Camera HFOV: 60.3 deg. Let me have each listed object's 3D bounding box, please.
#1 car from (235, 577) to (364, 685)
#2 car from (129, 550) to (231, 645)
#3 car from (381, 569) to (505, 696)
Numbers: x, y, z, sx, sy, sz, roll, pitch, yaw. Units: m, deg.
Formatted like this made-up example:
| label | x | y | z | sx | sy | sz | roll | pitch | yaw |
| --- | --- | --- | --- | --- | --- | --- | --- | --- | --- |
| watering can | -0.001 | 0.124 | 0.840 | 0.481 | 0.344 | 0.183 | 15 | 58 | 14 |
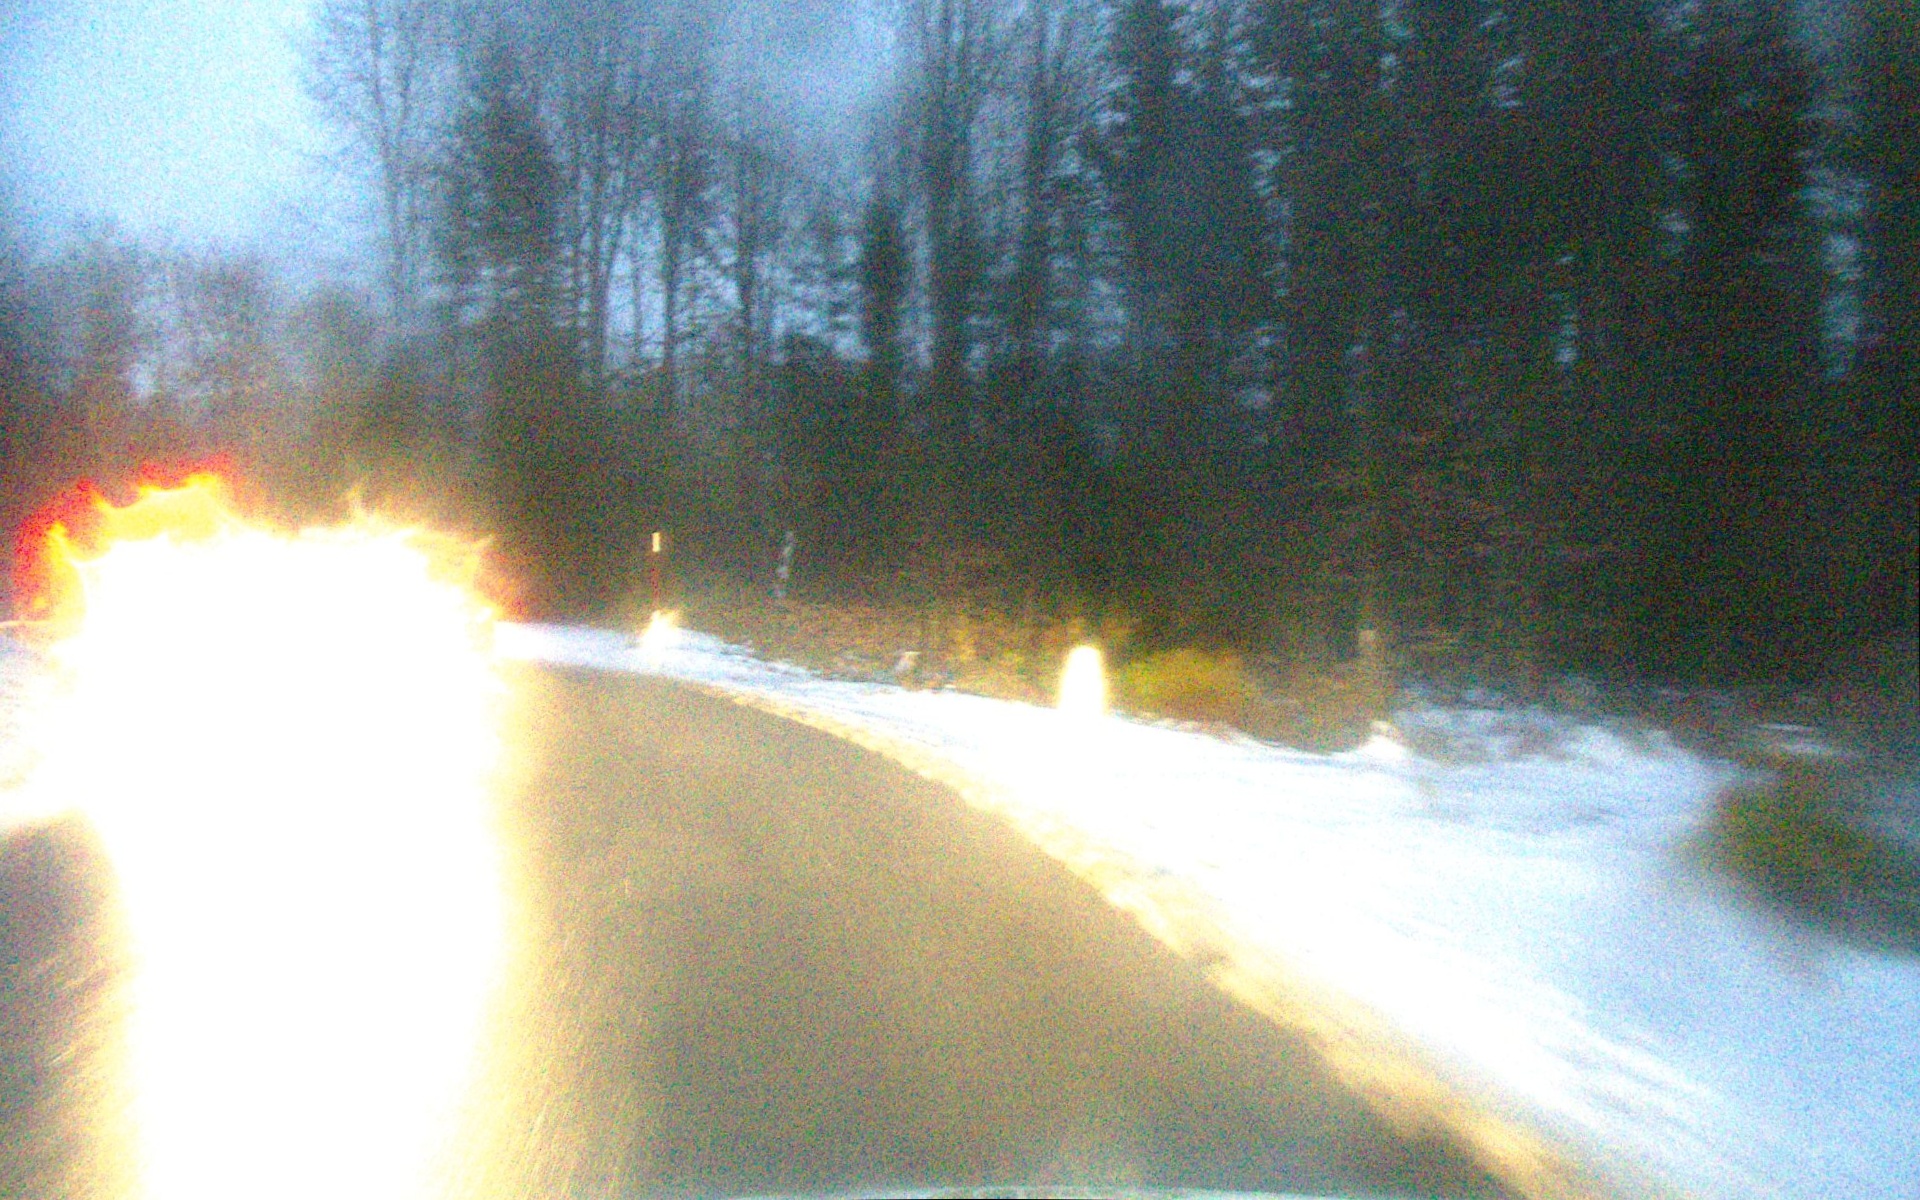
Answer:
| label | x | y | z | sx | sy | sz | roll | pitch | yaw |
| --- | --- | --- | --- | --- | --- | --- | --- | --- | --- |
| car | -10.792 | 0.432 | 26.904 | 1.751 | 1.518 | 4.516 | -3 | 2 | -23 |
| car | -23.412 | -0.050 | 49.550 | 2.231 | 2.692 | 4.951 | 0 | 0 | -32 |
| car | -9.515 | 0.550 | 30.383 | 1.963 | 2.087 | 3.979 | -2 | 1 | -18 |
